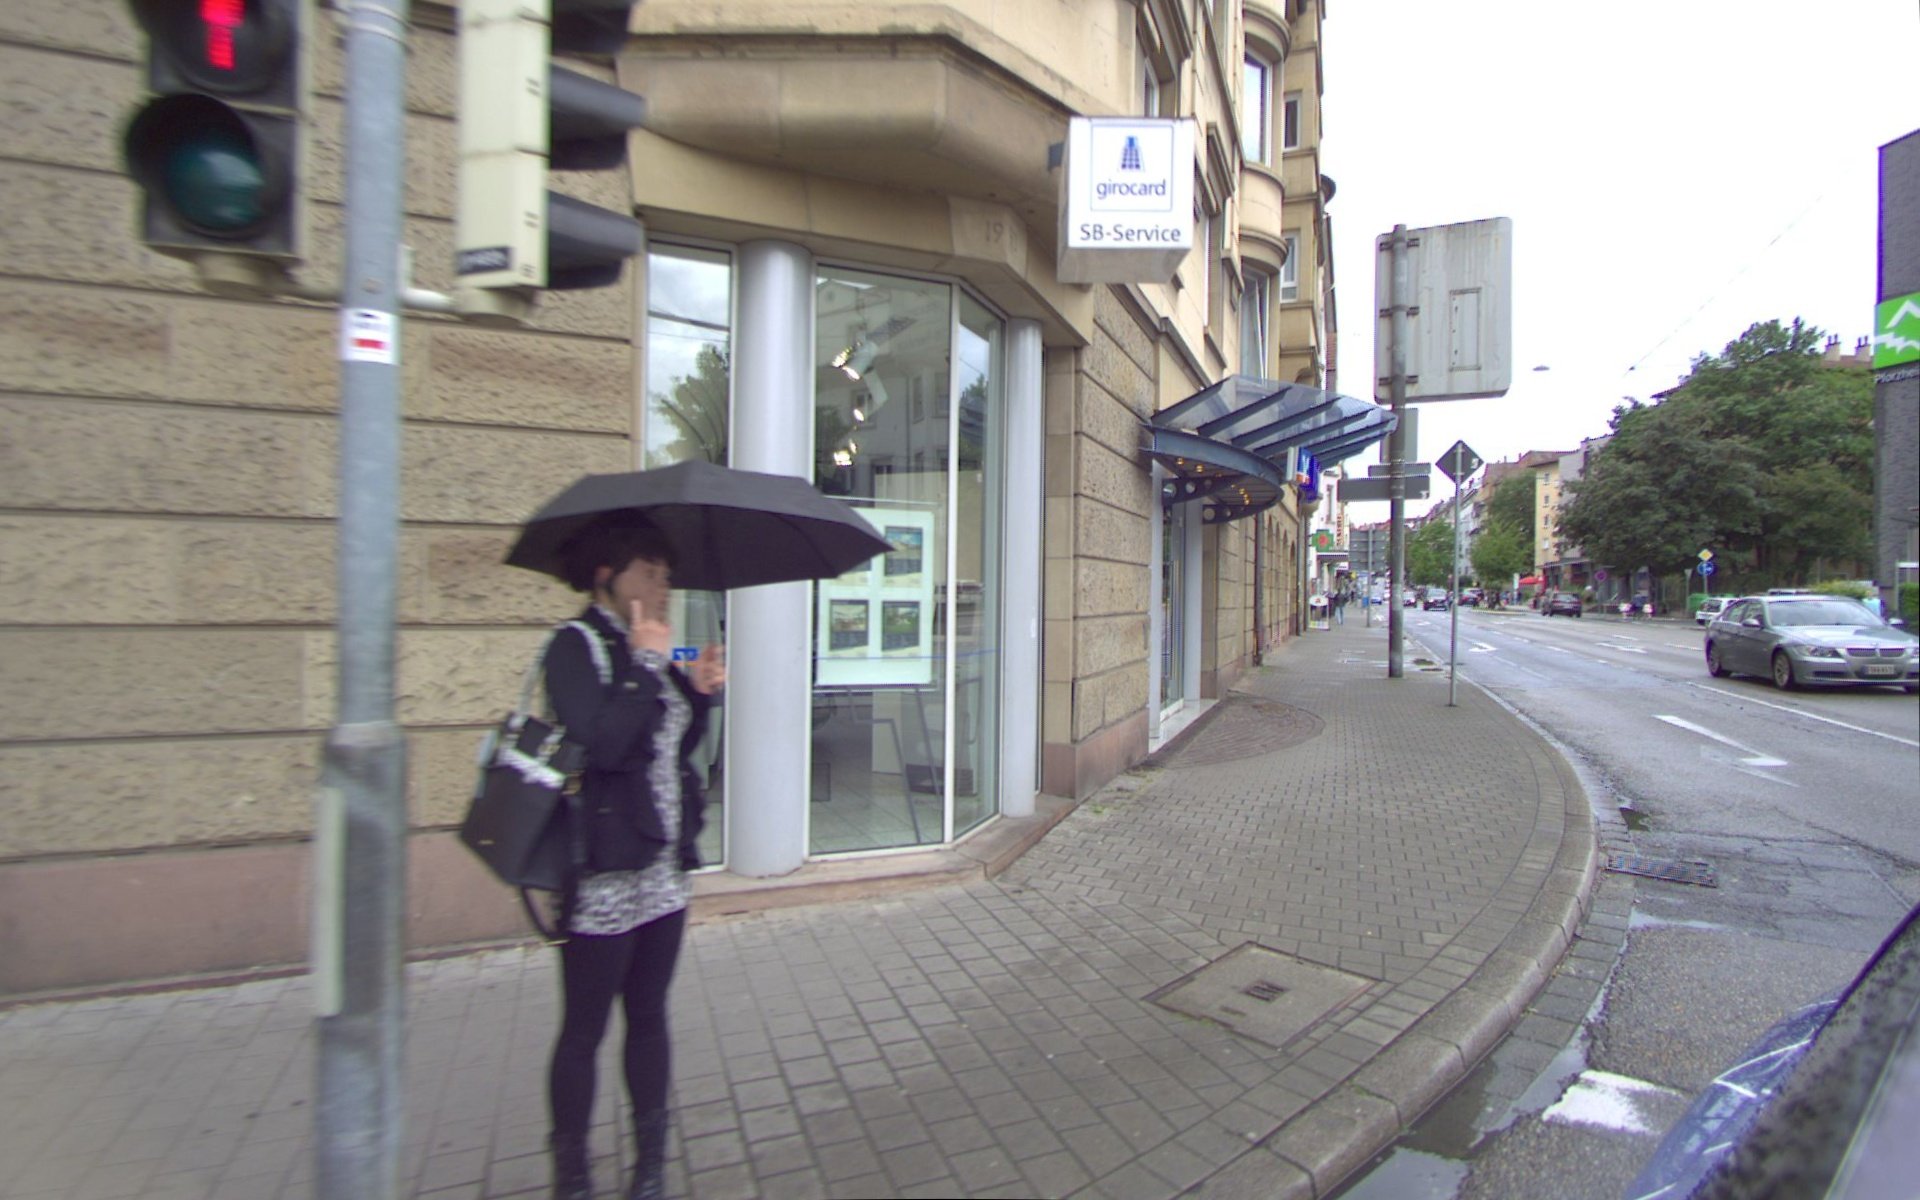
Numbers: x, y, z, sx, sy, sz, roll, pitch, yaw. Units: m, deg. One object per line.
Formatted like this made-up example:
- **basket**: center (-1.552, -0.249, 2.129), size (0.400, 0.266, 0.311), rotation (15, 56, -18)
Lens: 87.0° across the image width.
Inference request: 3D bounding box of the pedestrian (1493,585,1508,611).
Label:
- **pedestrian**: center (38.918, -0.149, 72.883), size (0.645, 1.781, 0.720), rotation (0, 1, 3)

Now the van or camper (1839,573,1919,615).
- **van or camper**: center (54.447, -0.388, 59.050), size (4.524, 2.295, 2.214), rotation (-2, 0, -7)

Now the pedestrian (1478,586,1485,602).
- **pedestrian**: center (65.893, -0.740, 127.932), size (0.694, 2.038, 0.778), rotation (0, 1, 18)

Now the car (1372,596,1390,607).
- **car**: center (50.325, 0.160, 121.054), size (1.717, 1.326, 3.745), rotation (1, 1, 18)

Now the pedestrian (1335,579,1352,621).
- **pedestrian**: center (16.286, -0.017, 42.997), size (0.666, 1.741, 0.895), rotation (1, 1, 21)

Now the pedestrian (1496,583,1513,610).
- **pedestrian**: center (38.793, -0.268, 72.128), size (0.848, 1.868, 0.693), rotation (1, 1, 8)

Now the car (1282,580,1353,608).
- **car**: center (23.278, -0.396, 65.952), size (4.085, 1.794, 1.868), rotation (1, 1, 11)

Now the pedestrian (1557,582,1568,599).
- **pedestrian**: center (59.022, -0.938, 99.190), size (0.786, 1.699, 0.712), rotation (0, 1, -40)

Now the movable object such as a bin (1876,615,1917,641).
- **movable object such as a bin**: center (30.731, 0.901, 33.214), size (0.718, 0.798, 0.756), rotation (0, 2, -23)

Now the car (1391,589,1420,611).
- **car**: center (41.288, -0.014, 93.848), size (1.973, 2.039, 3.978), rotation (0, 0, 17)

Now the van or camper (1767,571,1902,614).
- **van or camper**: center (44.744, -0.377, 51.897), size (4.879, 2.040, 1.996), rotation (0, -3, 5)

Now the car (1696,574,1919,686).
- **car**: center (13.281, 0.414, 15.636), size (1.781, 1.483, 4.344), rotation (-2, -1, 19)

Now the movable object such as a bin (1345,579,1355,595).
- **movable object such as a bin**: center (46.498, -1.552, 120.695), size (0.990, 1.815, 1.288), rotation (1, 2, 20)

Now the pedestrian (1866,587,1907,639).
- **pedestrian**: center (30.949, 0.436, 33.820), size (0.732, 1.706, 0.756), rotation (1, 1, -23)

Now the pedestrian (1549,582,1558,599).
- **pedestrian**: center (59.102, -0.936, 100.786), size (0.707, 1.699, 0.708), rotation (0, 1, 21)

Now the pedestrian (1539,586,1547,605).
- **pedestrian**: center (53.056, -0.398, 92.089), size (0.493, 1.694, 0.549), rotation (0, 1, 18)

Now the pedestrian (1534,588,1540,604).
- **pedestrian**: center (52.595, -0.373, 92.265), size (0.428, 1.428, 0.478), rotation (0, 1, 18)

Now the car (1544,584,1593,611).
- **car**: center (39.439, -0.183, 65.679), size (1.930, 1.680, 4.030), rotation (0, 1, 20)

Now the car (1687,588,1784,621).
- **car**: center (39.483, 0.248, 51.589), size (3.524, 1.590, 1.739), rotation (-1, -1, 4)

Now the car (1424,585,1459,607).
- **car**: center (37.489, -0.327, 78.753), size (1.844, 1.677, 4.154), rotation (1, 1, 34)

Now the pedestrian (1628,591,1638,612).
- **pedestrian**: center (40.512, 0.099, 60.885), size (0.404, 1.213, 0.309), rotation (1, 1, 16)

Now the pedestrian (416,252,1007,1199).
- **pedestrian**: center (-0.617, 0.384, 2.386), size (1.006, 1.927, 1.060), rotation (0, 1, -38)

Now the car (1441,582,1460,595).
- **car**: center (62.866, -1.431, 129.758), size (1.803, 1.588, 4.062), rotation (2, 2, 20)

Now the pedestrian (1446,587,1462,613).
- **pedestrian**: center (35.059, -0.014, 71.839), size (0.709, 1.849, 0.855), rotation (0, 0, -1)

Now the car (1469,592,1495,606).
- **car**: center (56.980, -0.141, 110.559), size (1.996, 1.443, 4.467), rotation (1, 1, 21)

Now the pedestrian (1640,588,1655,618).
- **pedestrian**: center (41.189, 0.154, 60.643), size (0.567, 1.784, 0.578), rotation (1, 1, 16)

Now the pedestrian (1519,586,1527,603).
- **pedestrian**: center (60.804, -0.637, 109.287), size (0.582, 1.842, 0.867), rotation (0, 1, 13)

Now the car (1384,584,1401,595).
- **car**: center (63.061, -1.558, 147.458), size (1.937, 1.576, 4.216), rotation (2, 2, 20)
